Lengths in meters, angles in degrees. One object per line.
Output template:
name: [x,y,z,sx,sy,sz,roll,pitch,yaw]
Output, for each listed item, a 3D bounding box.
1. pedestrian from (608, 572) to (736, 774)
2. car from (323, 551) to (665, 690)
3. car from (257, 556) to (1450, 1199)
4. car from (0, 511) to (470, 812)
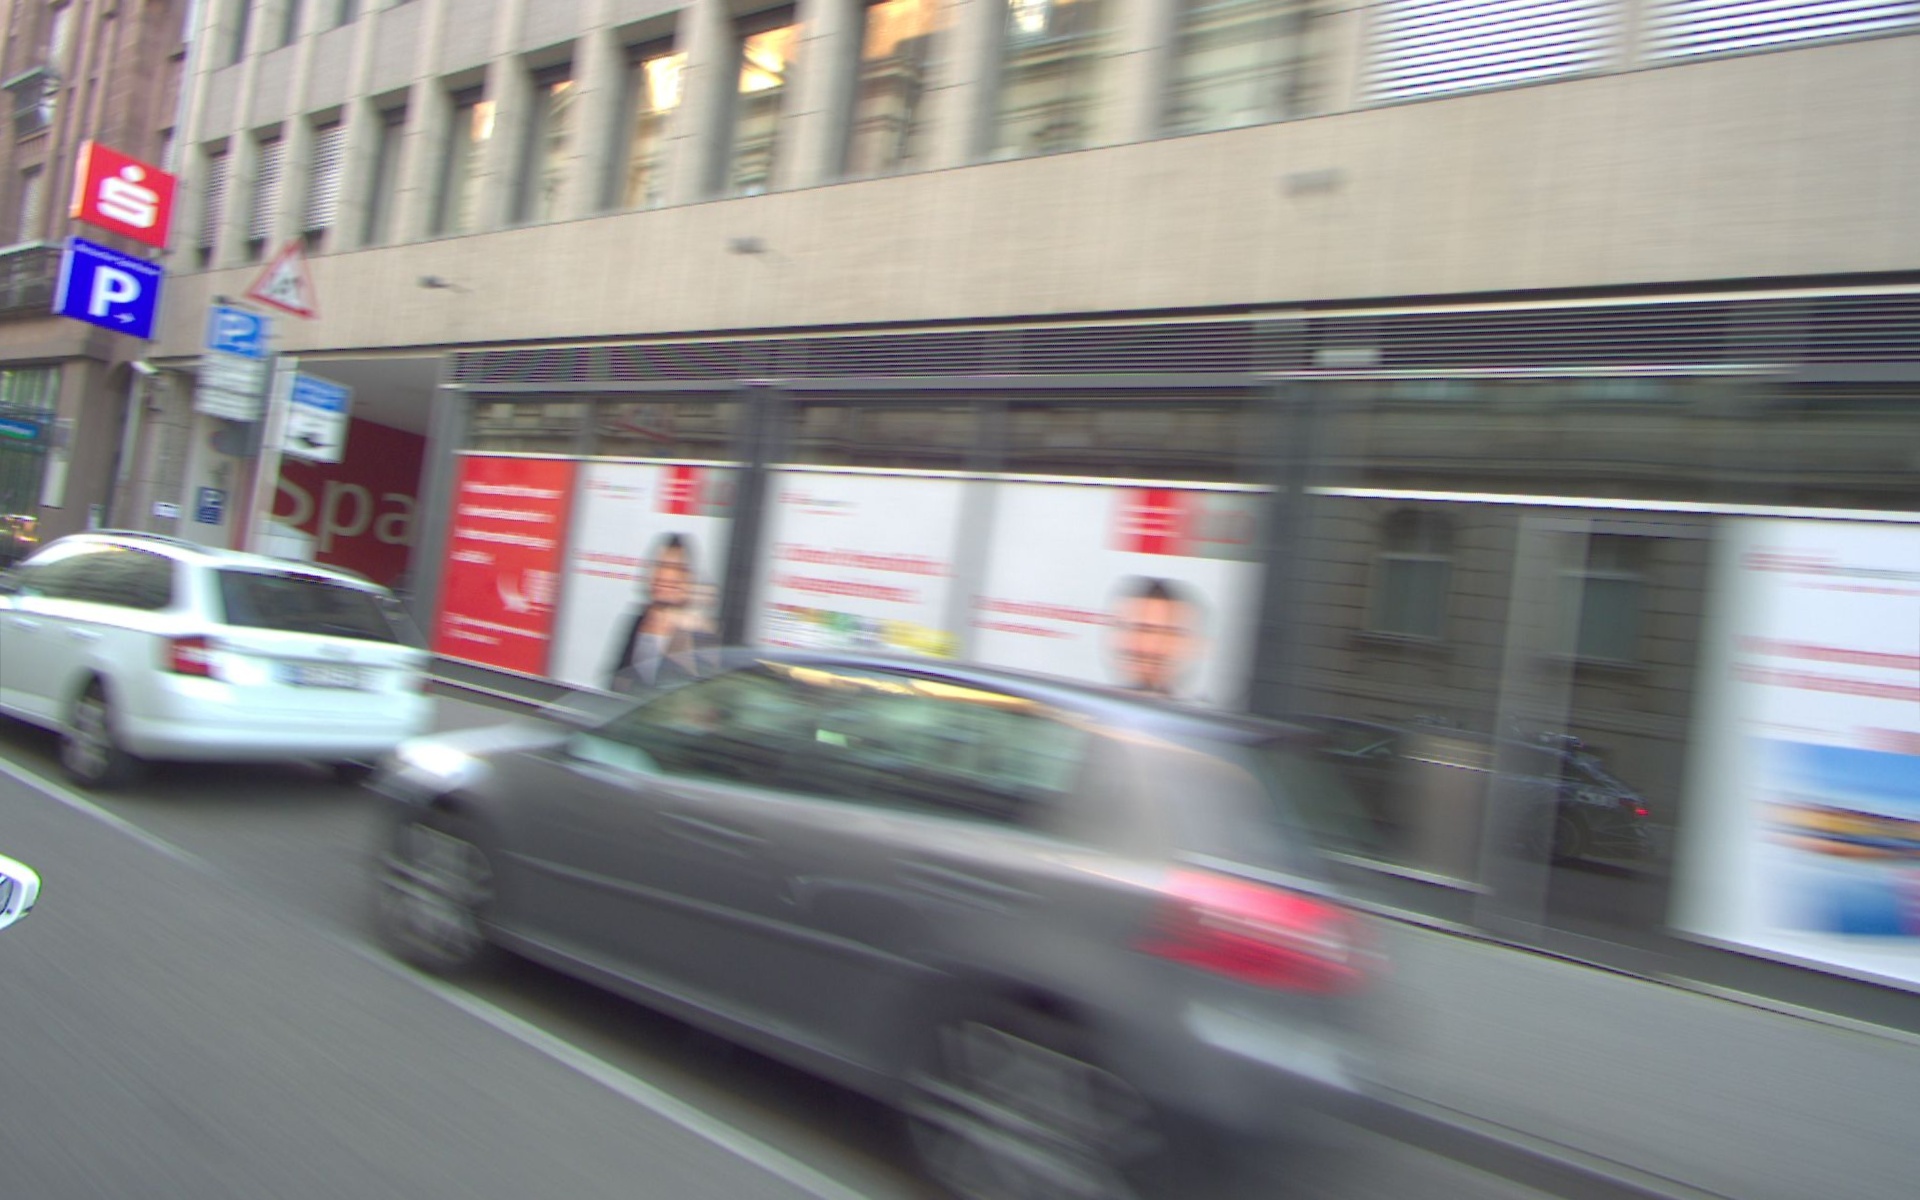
pedestrian: [-2.541,0.638,8.896,0.639,1.655,0.649,7,0,30]
car: [-6.969,0.419,15.588,1.885,1.517,4.416,6,-4,29]
car: [-0.611,0.847,3.953,4.370,1.463,1.662,6,-4,30]
car: [-5.579,0.292,7.039,4.236,1.463,1.662,6,-4,31]
